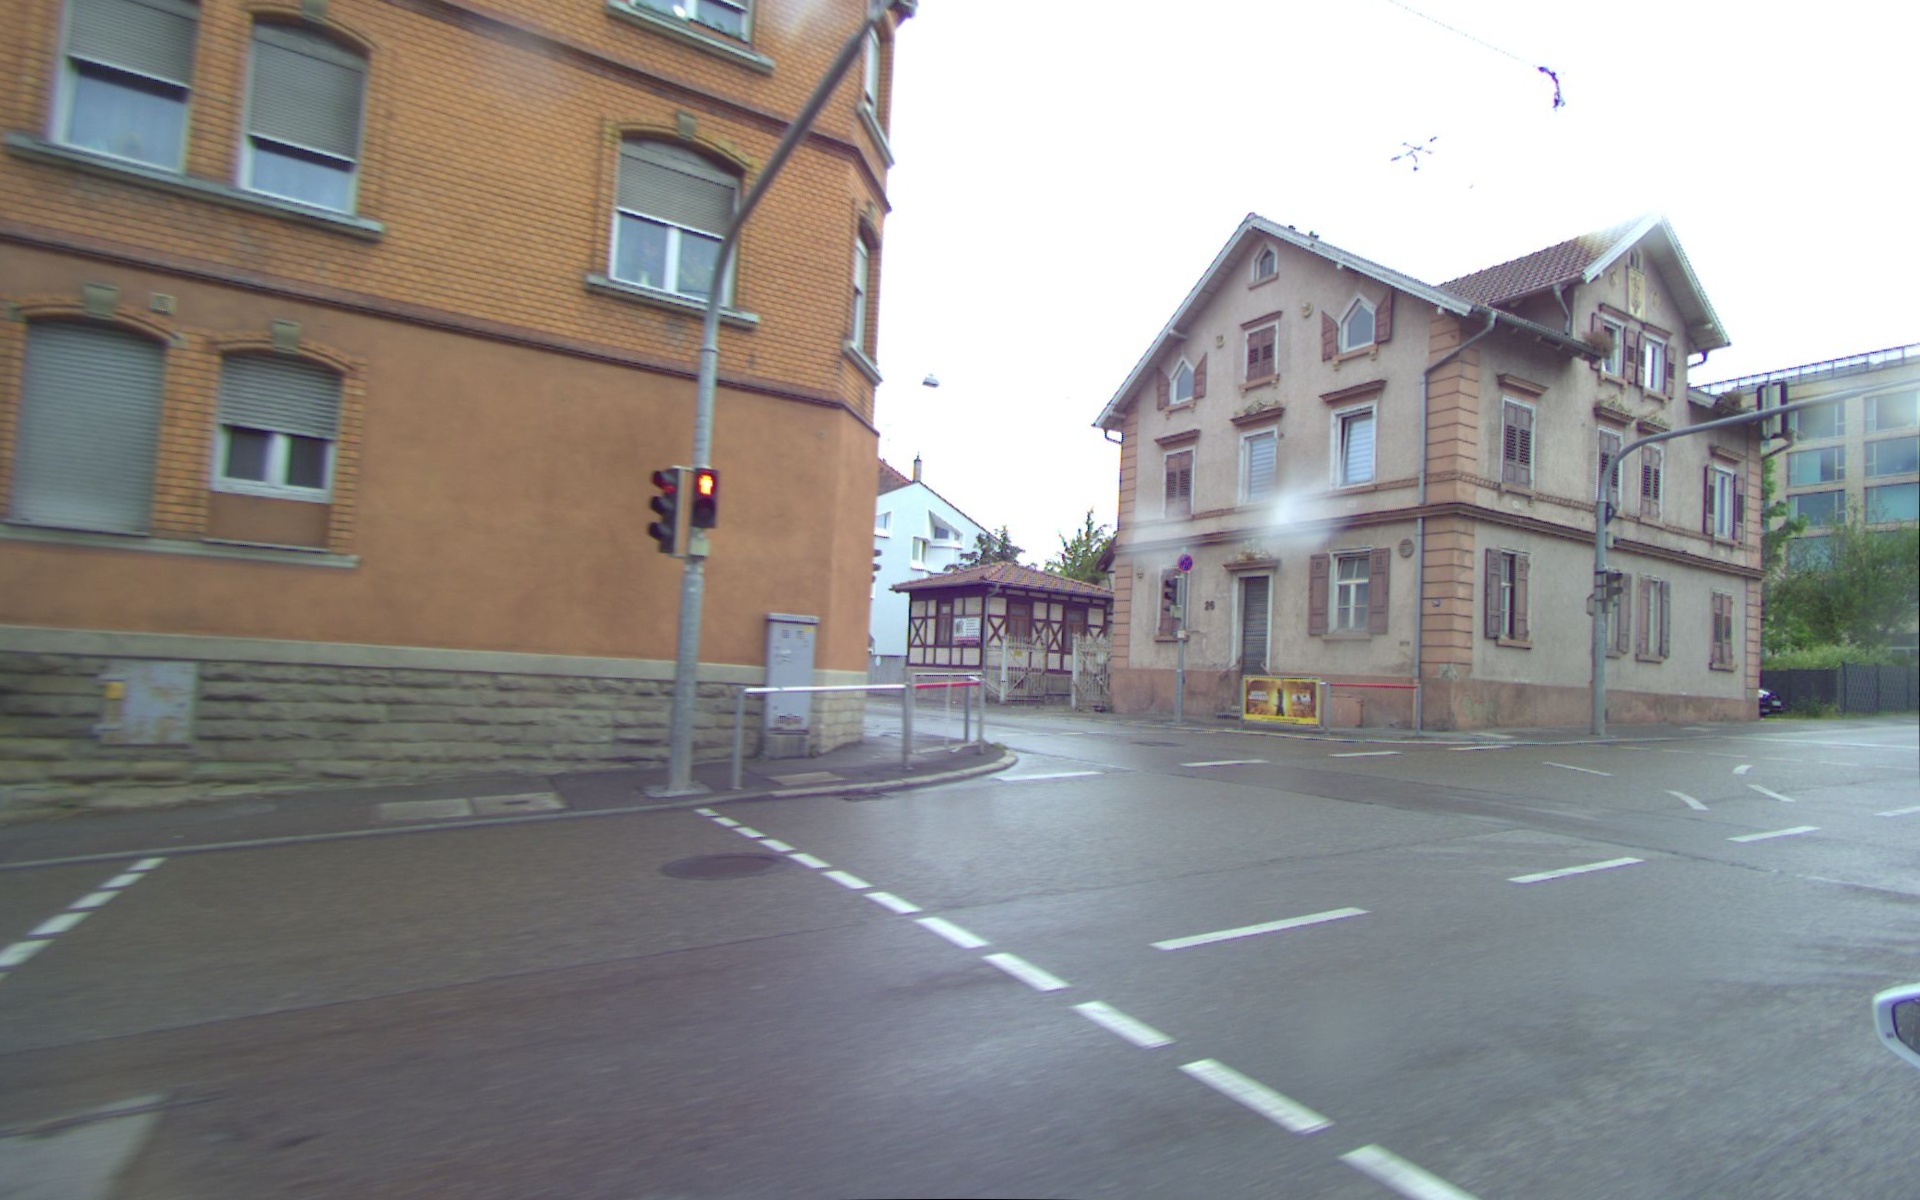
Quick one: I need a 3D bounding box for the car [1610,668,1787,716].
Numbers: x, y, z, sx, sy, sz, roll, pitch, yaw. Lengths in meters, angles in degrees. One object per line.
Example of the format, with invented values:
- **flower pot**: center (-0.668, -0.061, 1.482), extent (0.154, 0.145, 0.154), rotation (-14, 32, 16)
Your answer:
- **car**: center (21.881, 2.703, 29.893), extent (1.591, 1.178, 3.962), rotation (4, -3, -34)
